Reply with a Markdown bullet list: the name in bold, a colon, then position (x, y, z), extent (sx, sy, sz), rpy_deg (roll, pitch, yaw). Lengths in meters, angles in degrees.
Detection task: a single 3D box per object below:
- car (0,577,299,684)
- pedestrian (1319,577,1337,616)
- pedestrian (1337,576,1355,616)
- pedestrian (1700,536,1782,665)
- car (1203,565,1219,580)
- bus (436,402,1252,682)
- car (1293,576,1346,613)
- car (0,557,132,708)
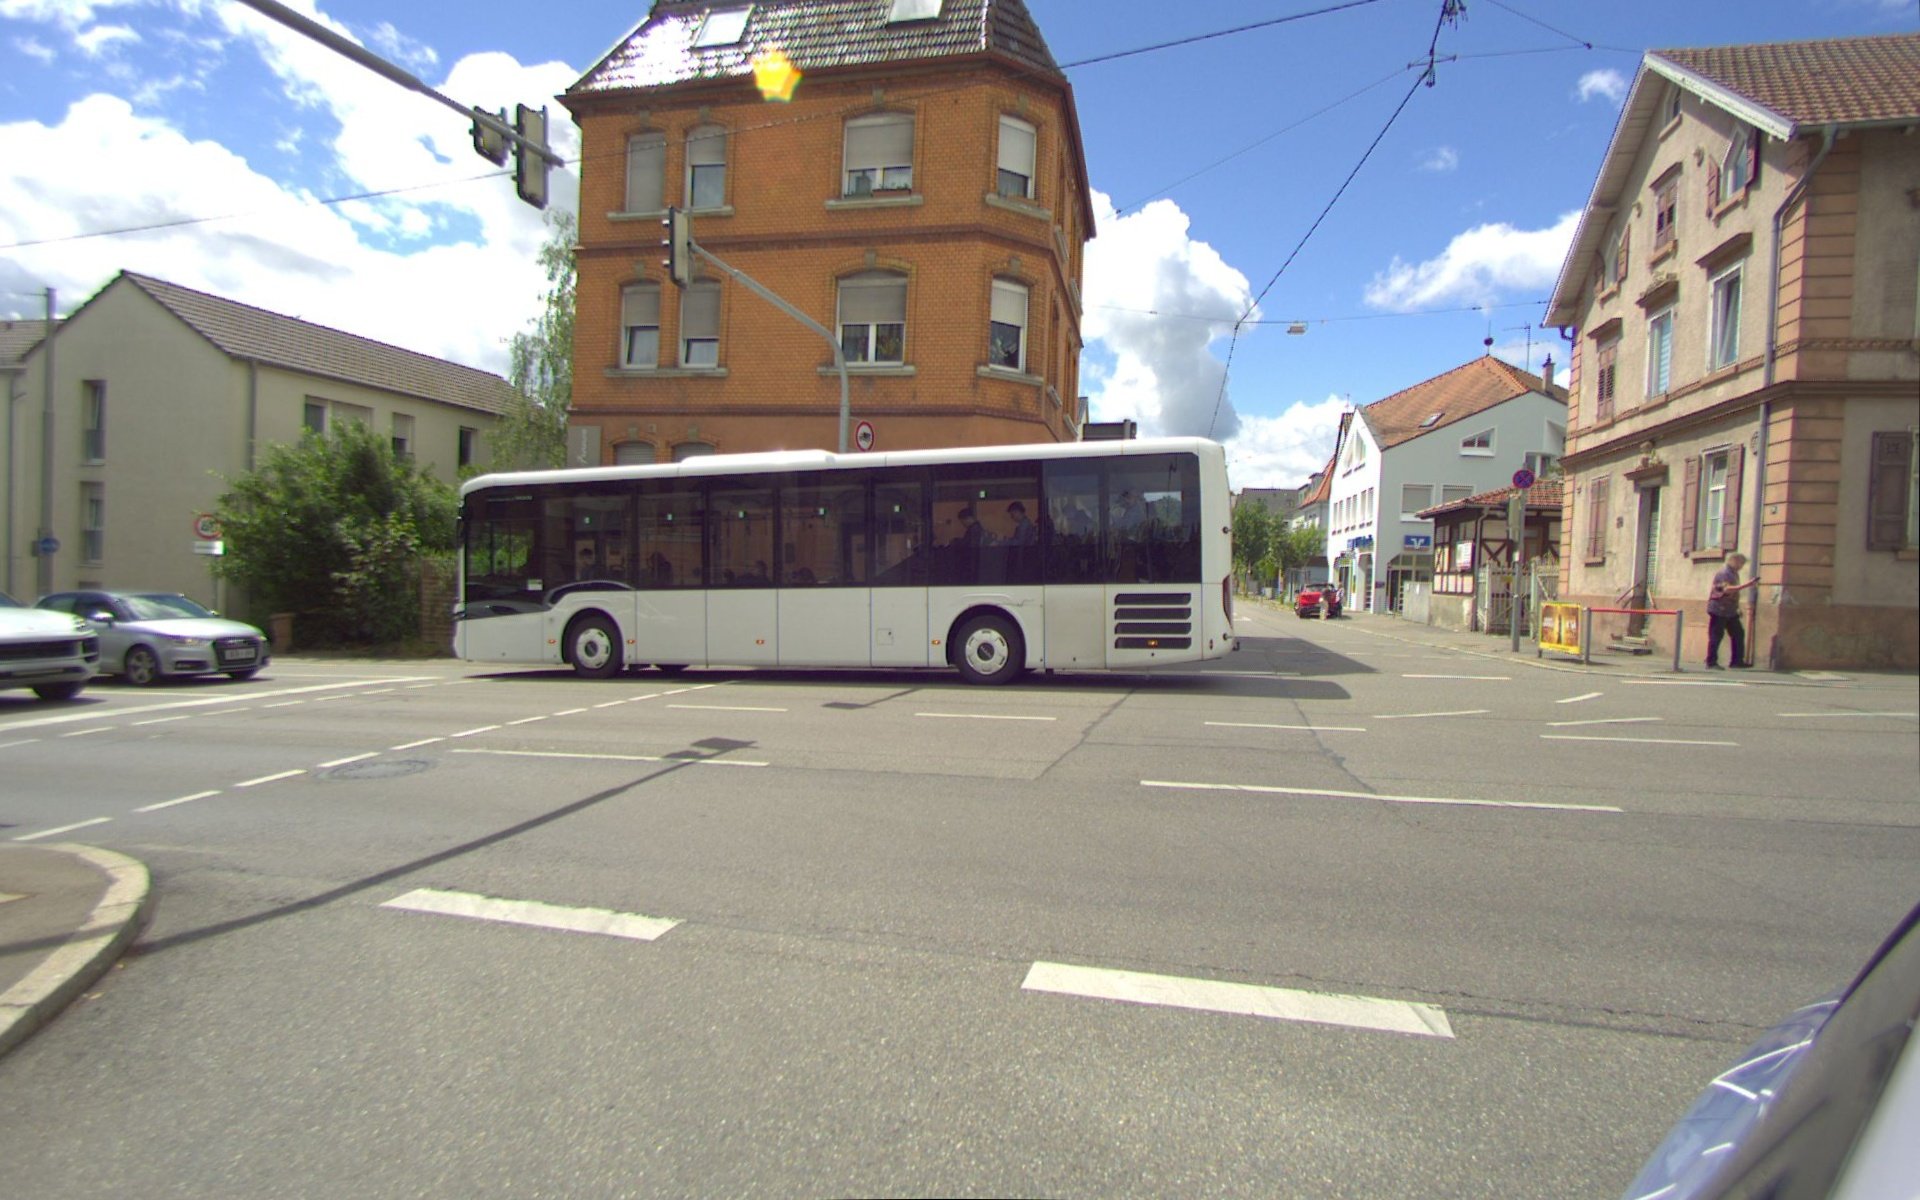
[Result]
- **car**: position (-12.565, 0.424, 15.606), extent (3.913, 1.495, 1.848), rpy_deg (0, 0, 15)
- **pedestrian**: position (15.465, -0.157, 42.539), extent (0.563, 1.616, 0.756), rpy_deg (-1, 0, 31)
- **pedestrian**: position (16.147, -0.169, 42.334), extent (0.606, 1.616, 0.717), rpy_deg (-1, 0, 26)
- **pedestrian**: position (11.960, 0.005, 15.529), extent (0.715, 1.888, 1.040), rpy_deg (-1, 0, 22)
- **car**: position (36.107, -3.926, 145.596), extent (1.972, 2.039, 3.979), rpy_deg (-1, 0, 17)
- **bus**: position (-1.941, -0.627, 15.562), extent (12.252, 3.431, 2.954), rpy_deg (-1, 0, 17)
- **car**: position (15.959, -0.255, 45.055), extent (1.972, 1.560, 3.979), rpy_deg (-1, 0, 17)
- **car**: position (-13.133, 0.357, 12.692), extent (4.546, 1.738, 1.991), rpy_deg (0, 2, 15)
